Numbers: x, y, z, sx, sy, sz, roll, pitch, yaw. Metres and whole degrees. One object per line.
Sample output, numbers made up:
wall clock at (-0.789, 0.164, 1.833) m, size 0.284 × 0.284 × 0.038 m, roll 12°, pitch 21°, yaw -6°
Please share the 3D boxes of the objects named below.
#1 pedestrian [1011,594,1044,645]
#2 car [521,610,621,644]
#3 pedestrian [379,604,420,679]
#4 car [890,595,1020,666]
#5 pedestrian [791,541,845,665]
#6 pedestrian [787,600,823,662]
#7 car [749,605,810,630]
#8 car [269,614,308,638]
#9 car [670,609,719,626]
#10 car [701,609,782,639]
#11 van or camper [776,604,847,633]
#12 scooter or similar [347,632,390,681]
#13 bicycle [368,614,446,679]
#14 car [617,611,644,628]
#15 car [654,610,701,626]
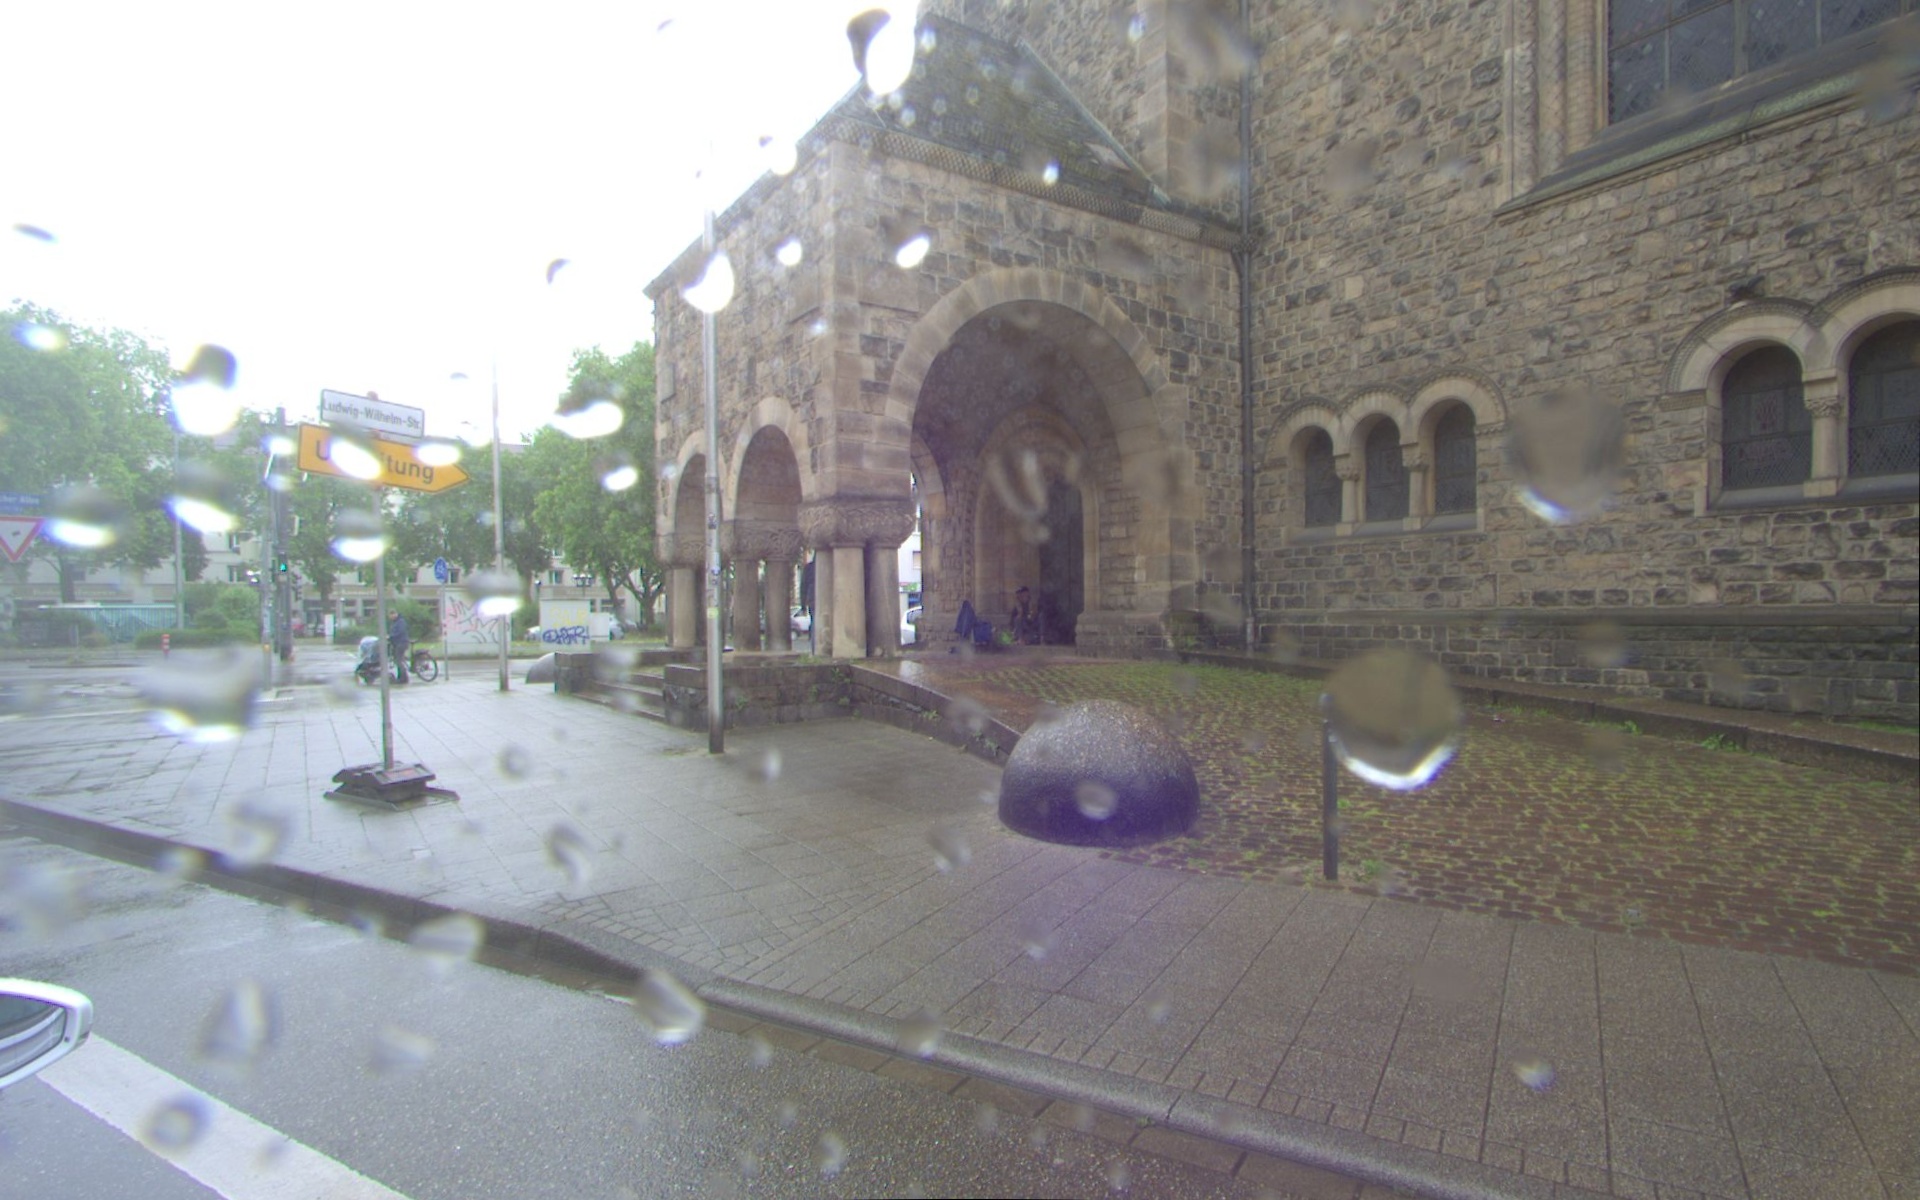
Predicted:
pedestrian at (1.220, 0.350, 18.141) m, size 0.391 × 0.896 × 0.453 m, roll -1°, pitch 0°, yaw -35°
car at (-19.754, 1.333, 50.940) m, size 4.497 × 1.621 × 1.780 m, roll 0°, pitch 0°, yaw -35°
pedestrian at (-12.954, 0.946, 23.148) m, size 0.680 × 1.685 × 0.601 m, roll 0°, pitch 1°, yaw 35°
car at (-0.190, 0.789, 24.908) m, size 1.712 × 1.593 × 3.343 m, roll 0°, pitch -4°, yaw -31°
pedestrian at (-2.035, 0.042, 14.284) m, size 0.623 × 1.725 × 0.676 m, roll -1°, pitch 0°, yaw -20°
pedestrian at (-2.286, 0.455, 14.747) m, size 0.448 × 0.896 × 0.395 m, roll -1°, pitch 0°, yaw -19°
car at (-13.615, 1.306, 75.484) m, size 4.210 × 1.802 × 1.725 m, roll -1°, pitch 0°, yaw -38°
car at (-44.809, 1.743, 66.801) m, size 1.651 × 1.541 × 3.645 m, roll -1°, pitch -1°, yaw -42°
car at (-24.275, 1.619, 91.587) m, size 3.945 × 1.471 × 1.667 m, roll -1°, pitch 0°, yaw -33°
car at (-12.234, 1.300, 56.201) m, size 4.125 × 1.621 × 1.766 m, roll 0°, pitch 0°, yaw -35°
van or camper at (-10.519, 1.275, 71.160) m, size 4.615 × 1.940 × 1.984 m, roll 0°, pitch 0°, yaw -38°
scooter or similar at (-13.493, 1.276, 22.832) m, size 0.912 × 1.062 × 0.511 m, roll 0°, pitch 1°, yaw 35°
bicycle at (-13.022, 1.082, 23.573) m, size 1.907 × 1.486 × 0.532 m, roll 0°, pitch 0°, yaw 23°
car at (-32.562, 1.930, 98.876) m, size 1.693 × 1.638 × 3.978 m, roll 1°, pitch -2°, yaw -32°
car at (-26.895, 1.737, 95.355) m, size 3.945 × 1.471 × 1.667 m, roll -1°, pitch 0°, yaw -33°
